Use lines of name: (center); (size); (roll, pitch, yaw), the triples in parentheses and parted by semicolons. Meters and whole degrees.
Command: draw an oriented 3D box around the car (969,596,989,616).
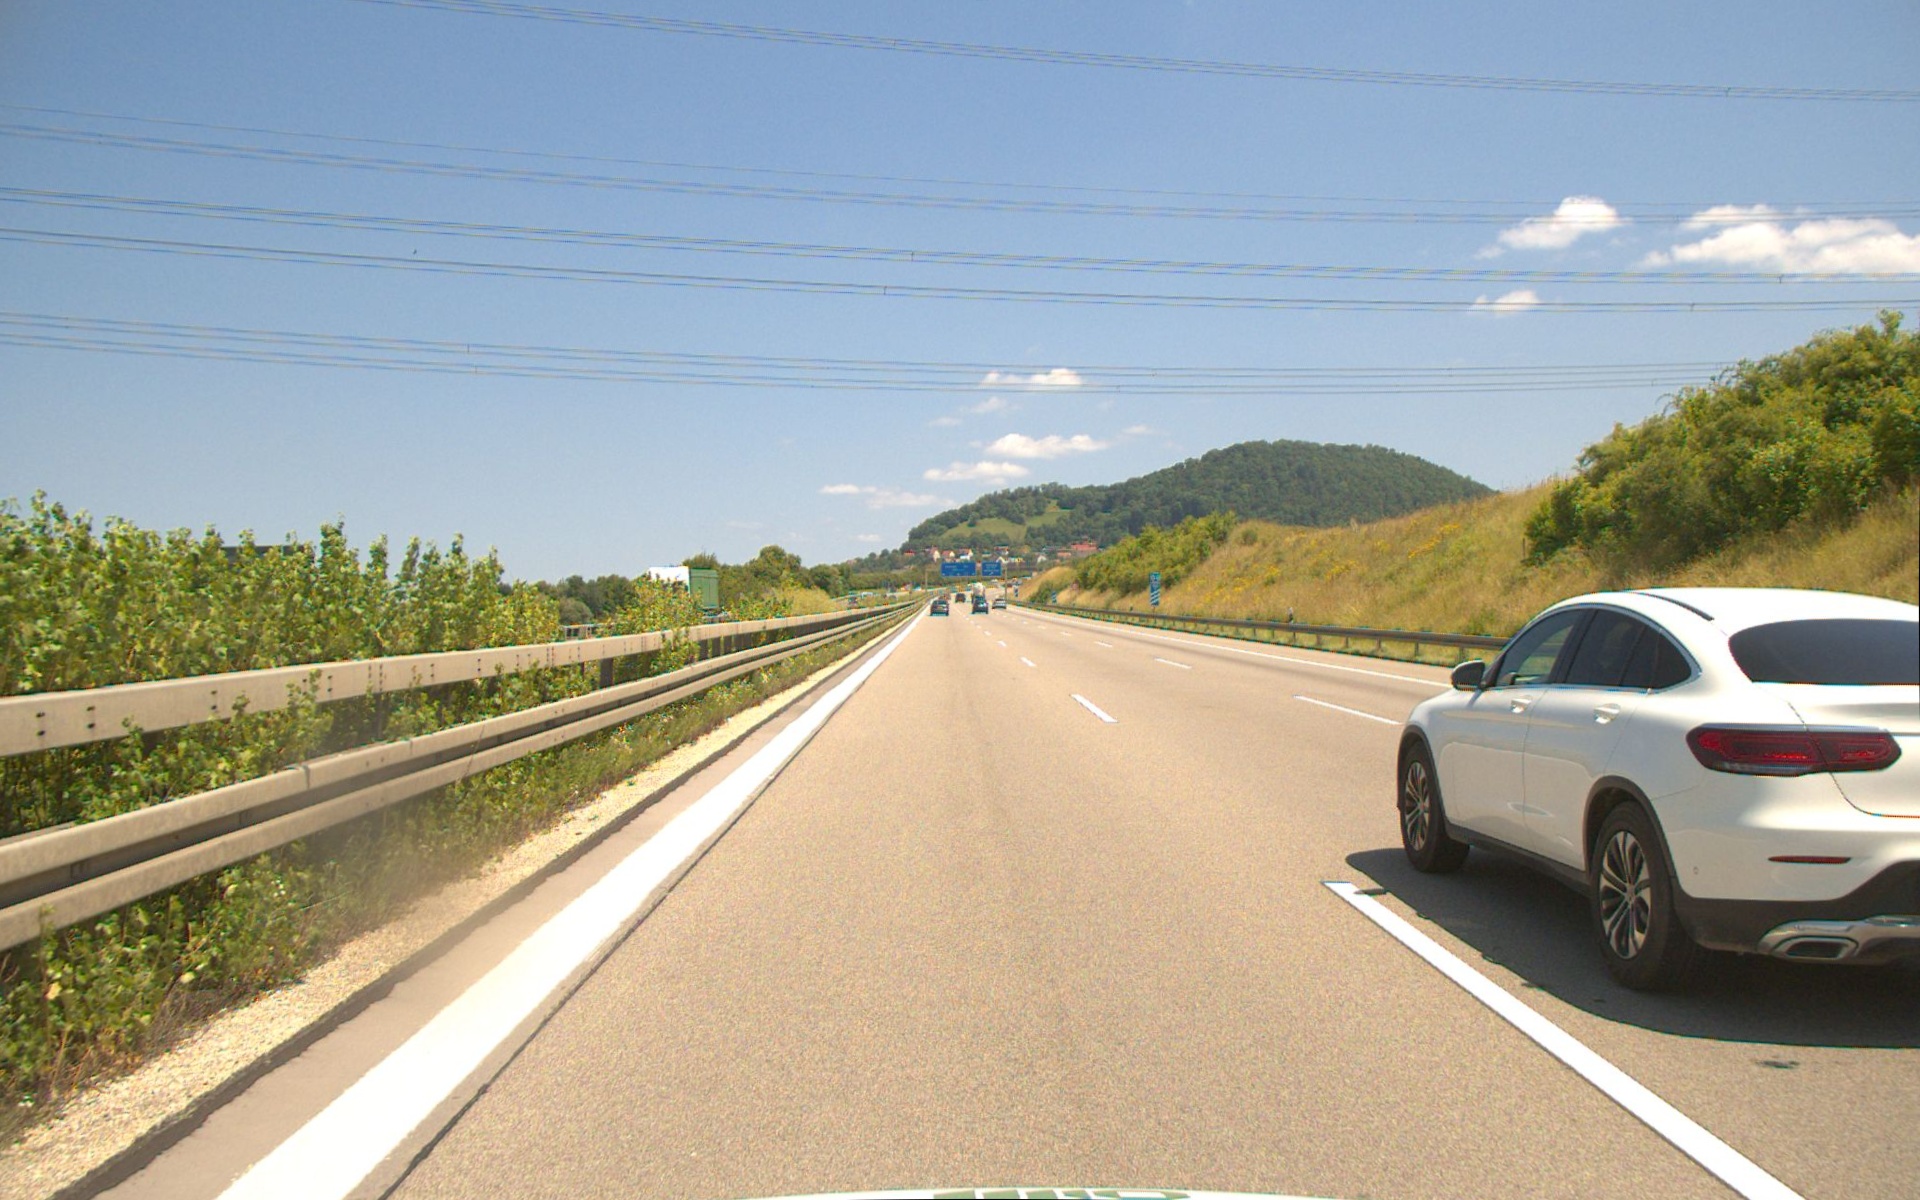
car: (1.962, 0.640, 168.659); (1.953, 2.049, 3.999); (1, -1, 0)

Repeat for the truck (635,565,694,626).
truck: (-18.369, -0.237, 103.077); (2.668, 3.621, 5.898); (1, -1, -2)

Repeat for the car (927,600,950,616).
car: (-1.931, 0.698, 149.034); (1.953, 1.413, 3.999); (1, -1, 0)

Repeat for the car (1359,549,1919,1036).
car: (3.576, 0.673, 8.124); (1.875, 1.608, 5.229); (1, -1, -1)

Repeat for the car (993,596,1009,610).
car: (5.503, 0.360, 220.918); (1.953, 1.850, 4.000); (-1, 0, 0)
